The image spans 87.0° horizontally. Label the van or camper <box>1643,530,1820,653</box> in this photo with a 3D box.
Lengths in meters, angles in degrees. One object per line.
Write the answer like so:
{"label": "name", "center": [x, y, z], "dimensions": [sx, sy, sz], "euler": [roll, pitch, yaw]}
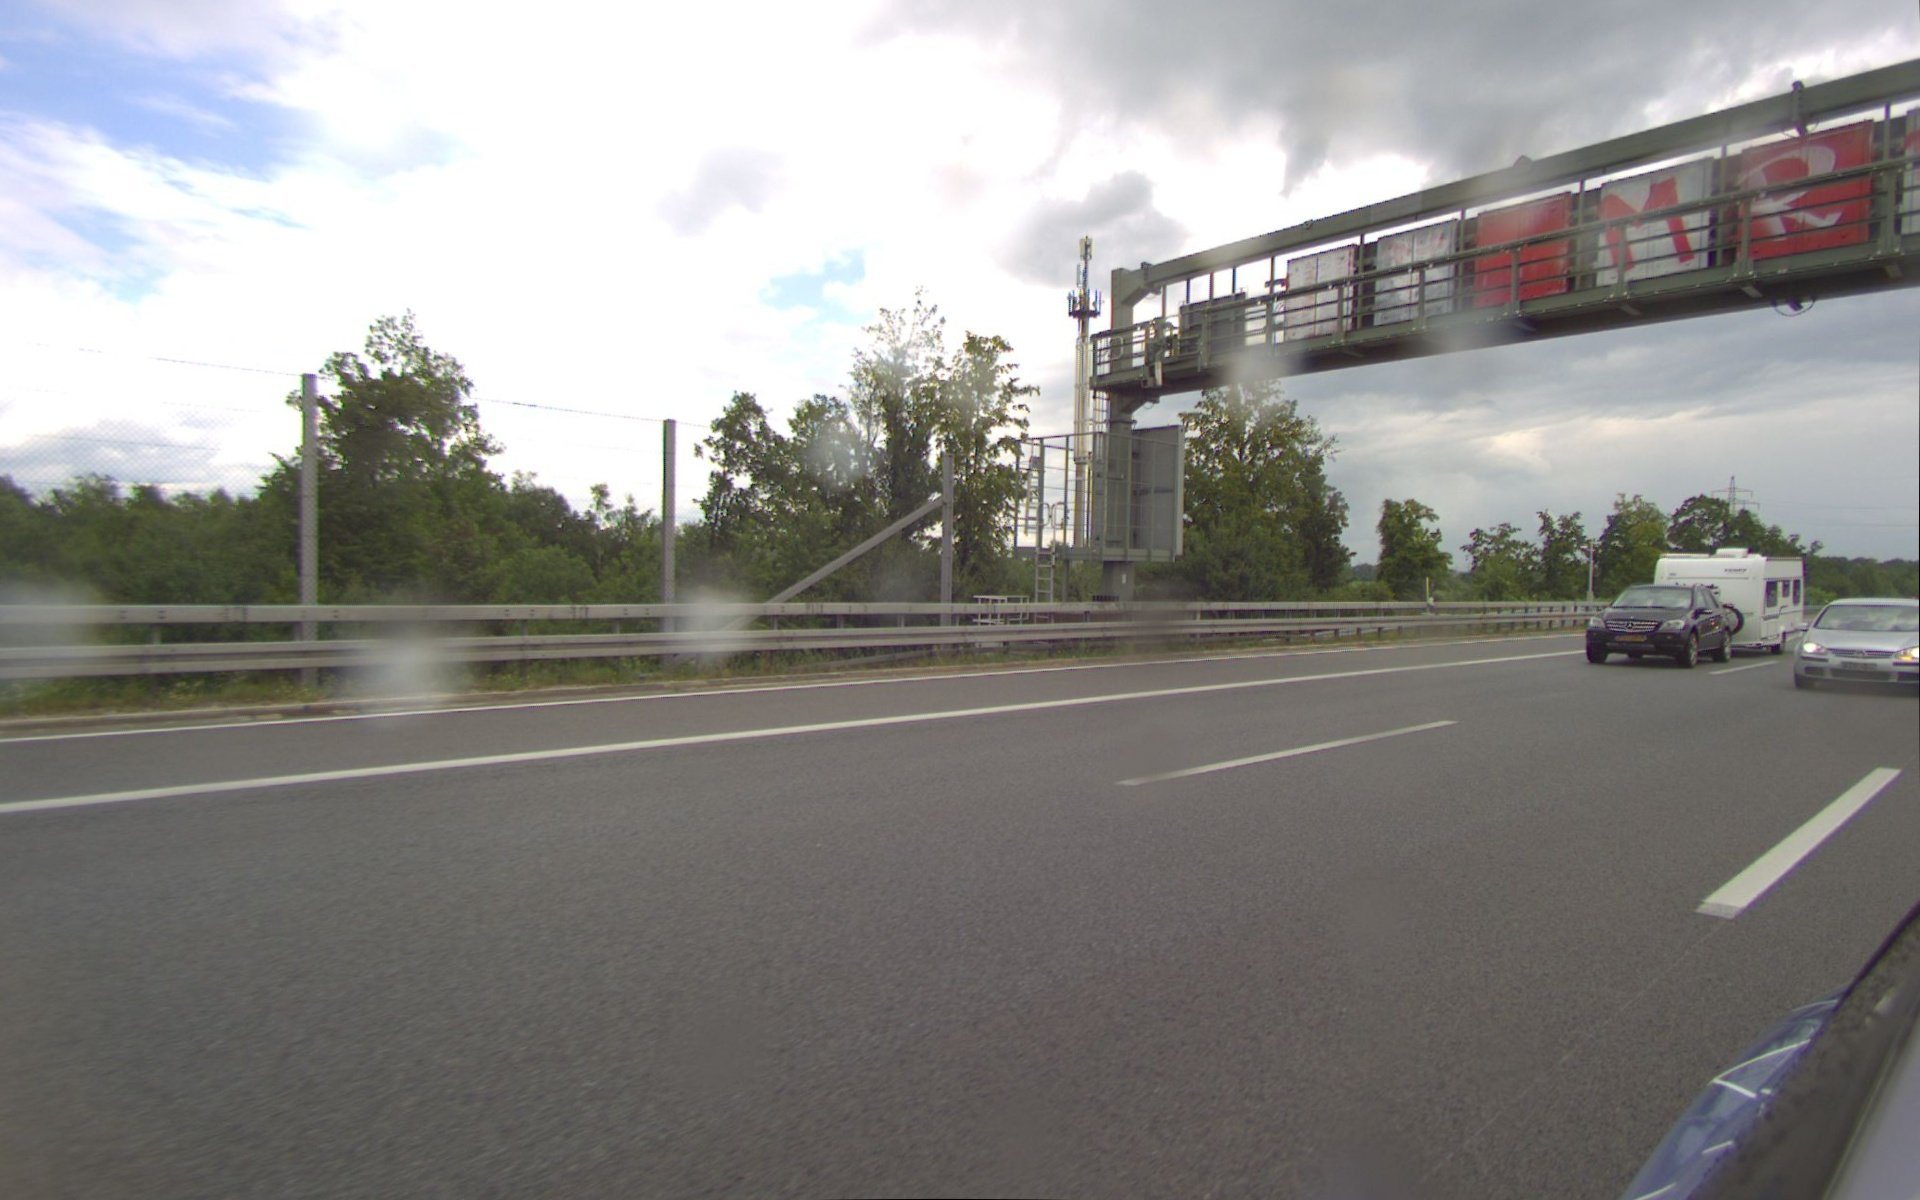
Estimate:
{"label": "van or camper", "center": [20.048, -0.216, 26.134], "dimensions": [7.085, 2.773, 2.387], "euler": [0, 0, -42]}

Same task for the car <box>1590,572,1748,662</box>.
{"label": "car", "center": [15.696, 0.316, 22.325], "dimensions": [4.425, 1.798, 1.923], "euler": [0, 1, -42]}

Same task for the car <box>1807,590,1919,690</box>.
{"label": "car", "center": [15.368, 0.586, 16.634], "dimensions": [3.931, 1.464, 1.681], "euler": [0, 1, -42]}
